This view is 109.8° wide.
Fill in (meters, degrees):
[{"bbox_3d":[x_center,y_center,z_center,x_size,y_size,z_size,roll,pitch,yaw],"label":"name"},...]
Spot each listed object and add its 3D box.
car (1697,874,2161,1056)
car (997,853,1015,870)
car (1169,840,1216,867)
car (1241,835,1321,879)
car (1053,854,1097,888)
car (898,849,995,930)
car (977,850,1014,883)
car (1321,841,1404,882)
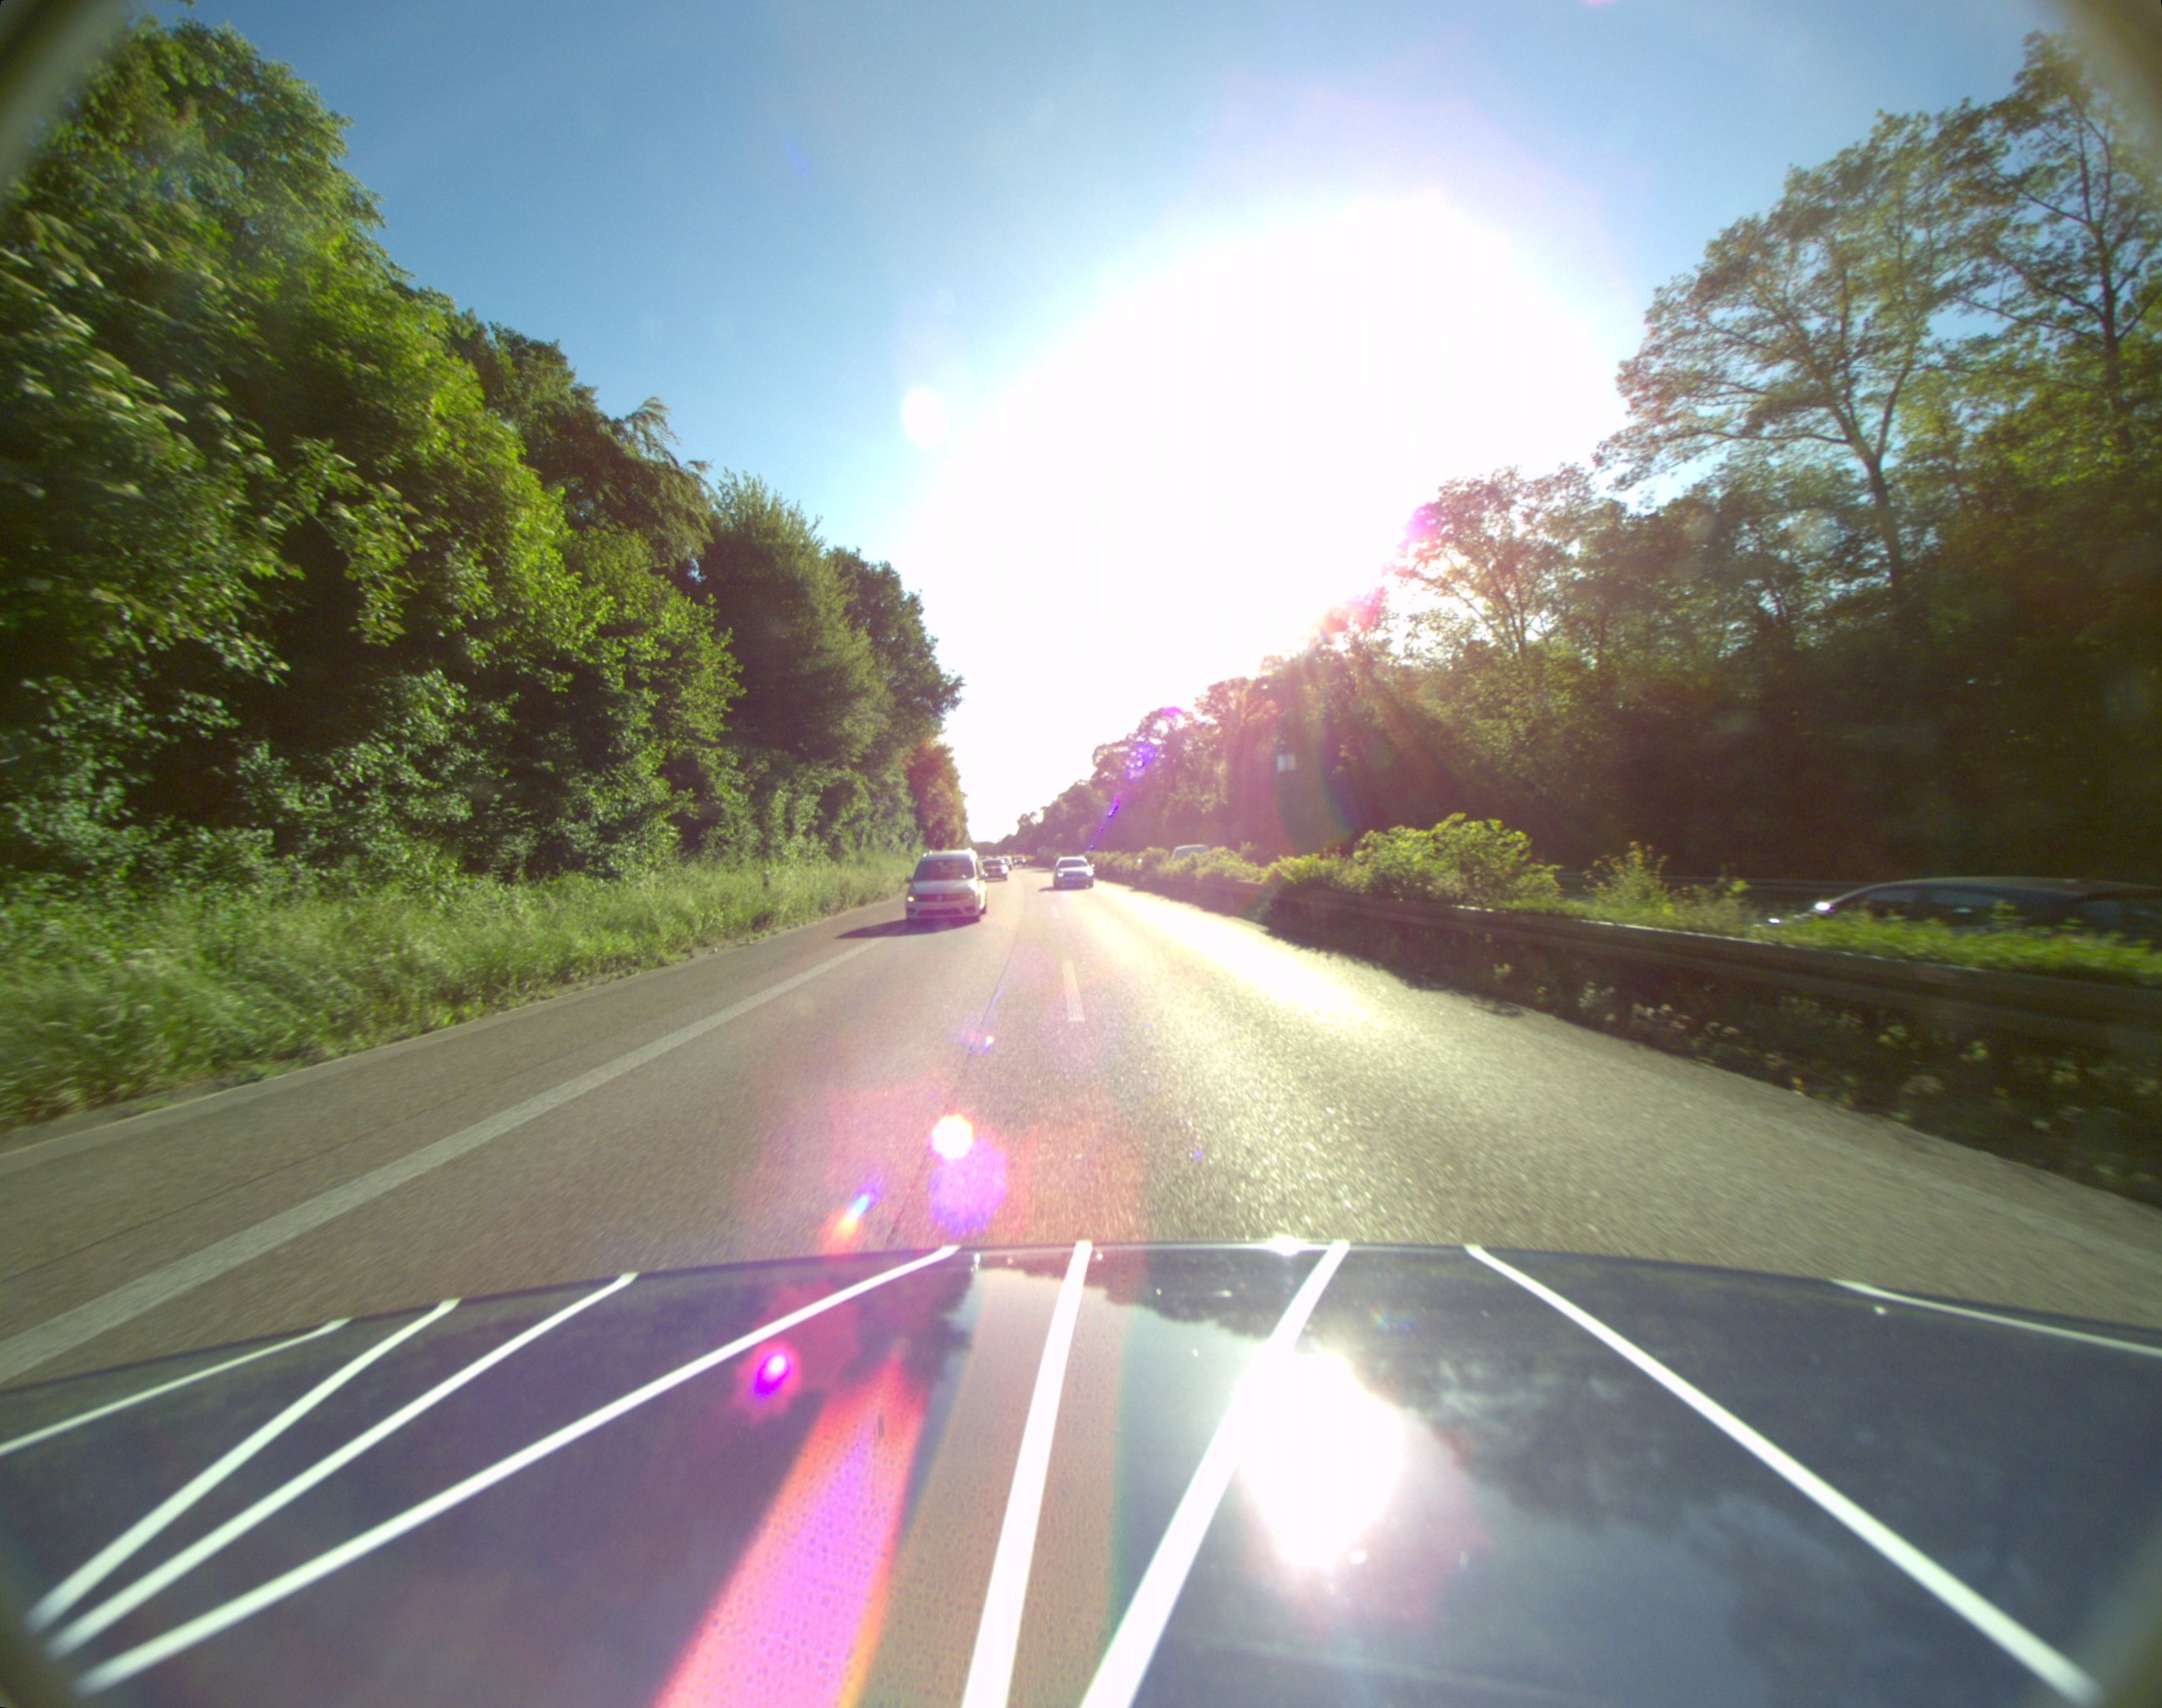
[{"bbox_3d":[9.423,1.003,8.524,1.659,1.347,3.999,-2,1,-2],"label":"car"},{"bbox_3d":[-8.402,0.841,85.747,1.935,1.500,5.081,-3,3,-5],"label":"car"},{"bbox_3d":[6.839,-0.041,47.077,1.886,1.505,4.354,-2,1,-6],"label":"car"},{"bbox_3d":[7.951,0.084,30.609,1.999,1.587,3.999,-2,1,-2],"label":"car"},{"bbox_3d":[-0.364,0.803,37.663,1.934,1.499,5.598,-2,0,-2],"label":"car"},{"bbox_3d":[-3.374,0.801,19.977,1.800,1.796,4.831,-2,1,-2],"label":"car"},{"bbox_3d":[-5.825,0.795,52.370,2.257,1.843,5.137,-3,3,-5],"label":"car"},{"bbox_3d":[12.192,0.285,33.198,1.999,1.587,3.999,-2,1,-2],"label":"car"}]
